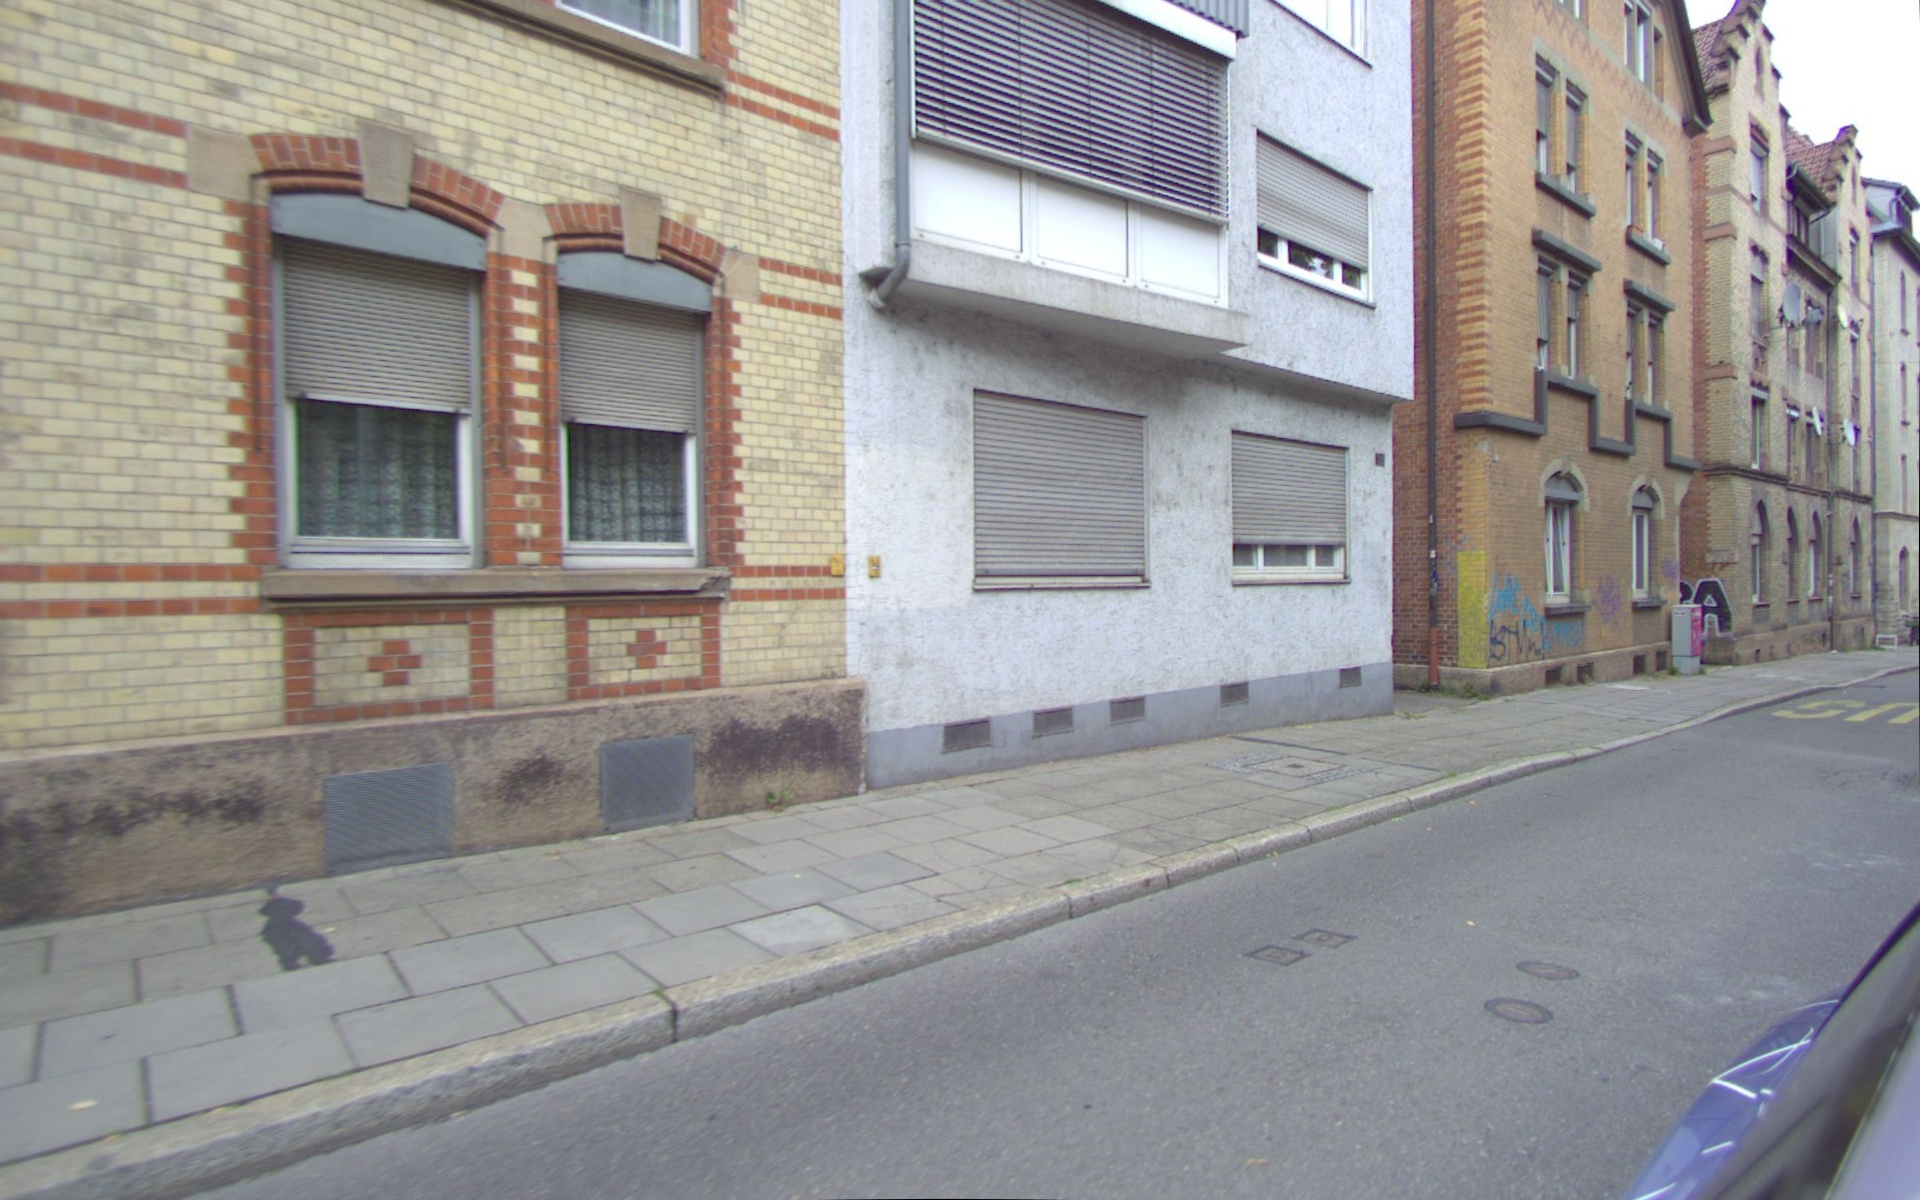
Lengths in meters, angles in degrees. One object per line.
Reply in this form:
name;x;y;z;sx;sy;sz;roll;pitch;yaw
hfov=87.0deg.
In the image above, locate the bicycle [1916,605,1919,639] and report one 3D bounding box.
bicycle;34.917;0.772;36.202;2.437;1.164;0.683;0;0;-38
